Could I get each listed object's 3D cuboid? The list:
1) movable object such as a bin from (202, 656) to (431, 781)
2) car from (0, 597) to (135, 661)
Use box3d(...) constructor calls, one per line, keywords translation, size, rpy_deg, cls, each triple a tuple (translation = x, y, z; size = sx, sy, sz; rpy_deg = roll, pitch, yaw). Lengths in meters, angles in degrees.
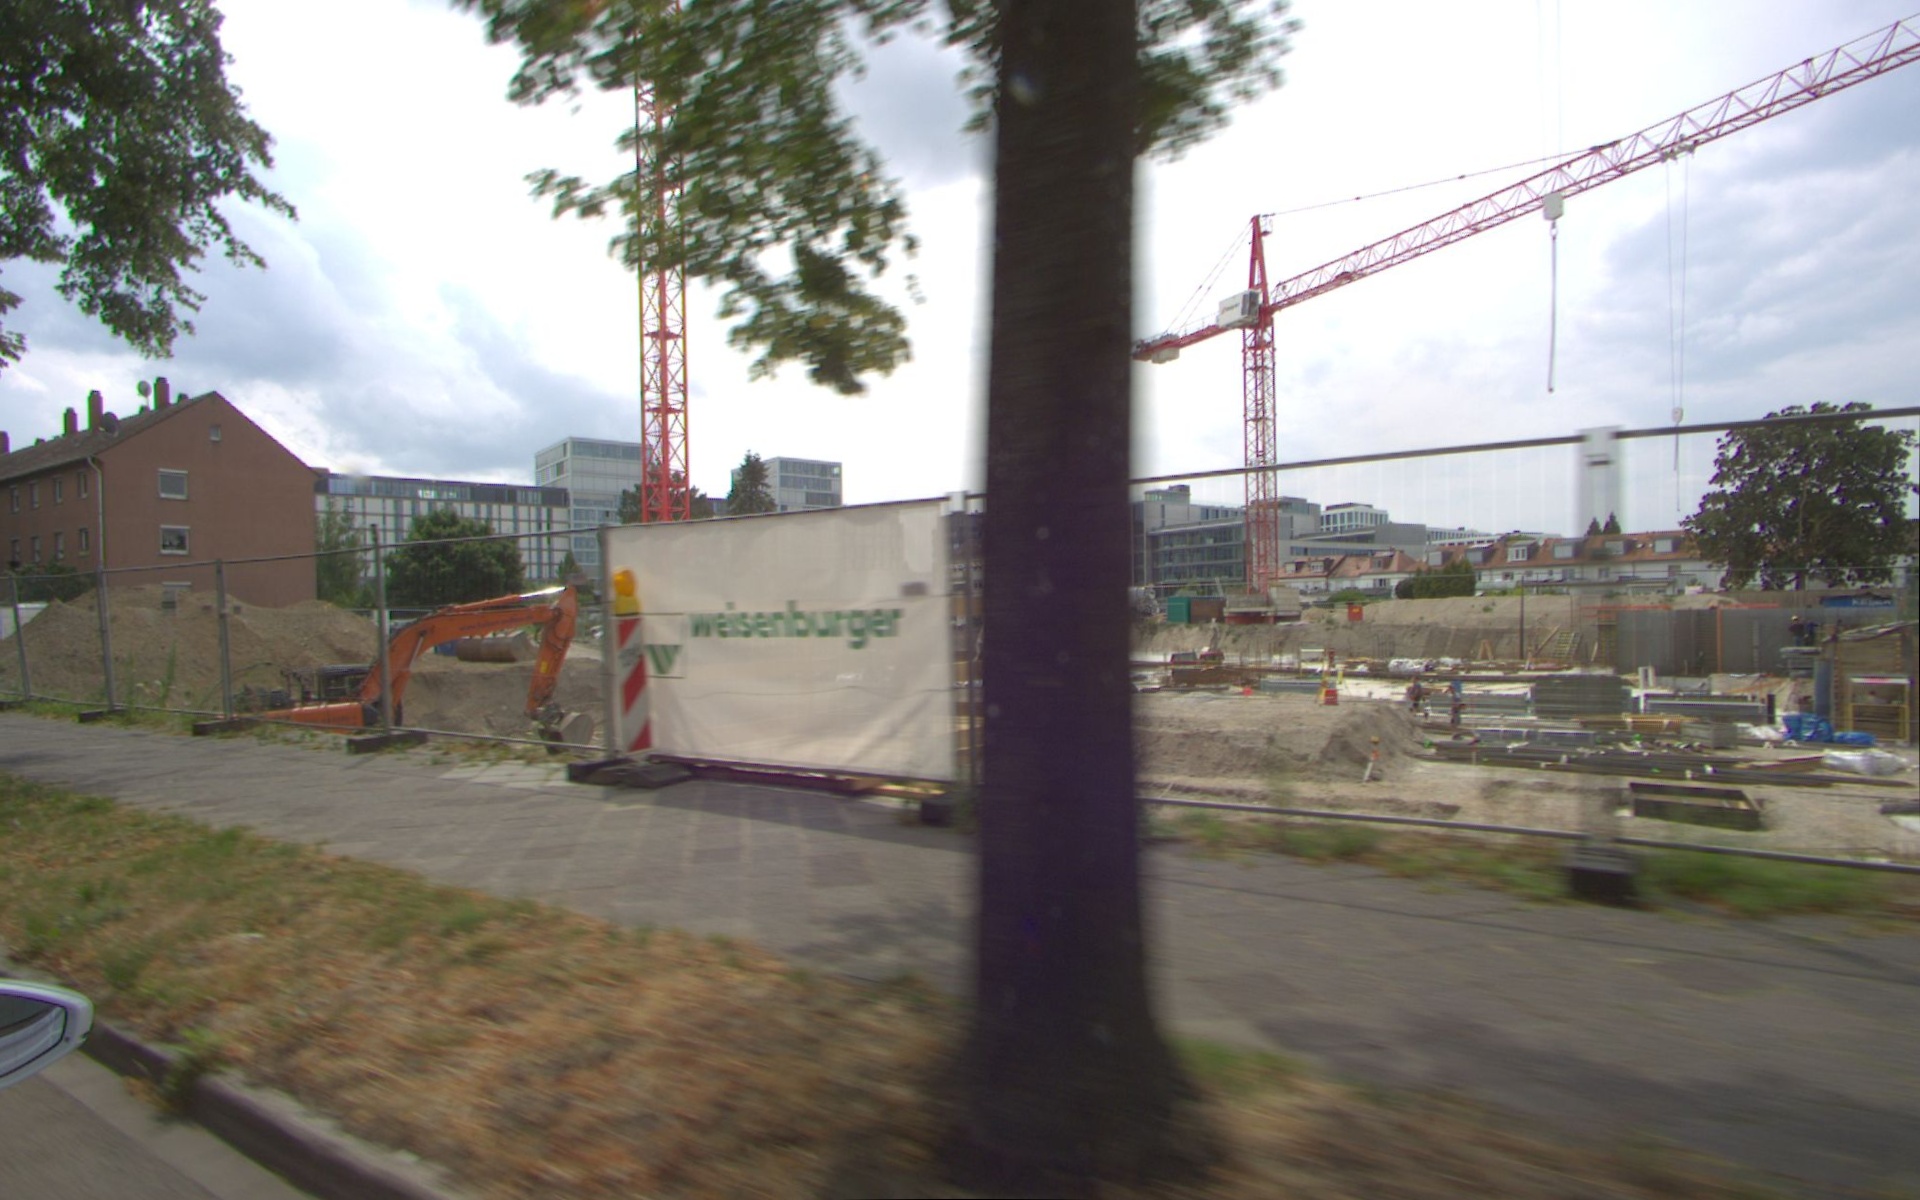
box3d(translation=(-17.318, 3.036, 27.045), size=(4.650, 2.624, 3.103), rpy_deg=(-3, 1, -44), cls="movable object such as a bin")
box3d(translation=(-40.424, 1.230, 44.426), size=(2.303, 2.668, 5.458), rpy_deg=(1, 1, 34), cls="car")
